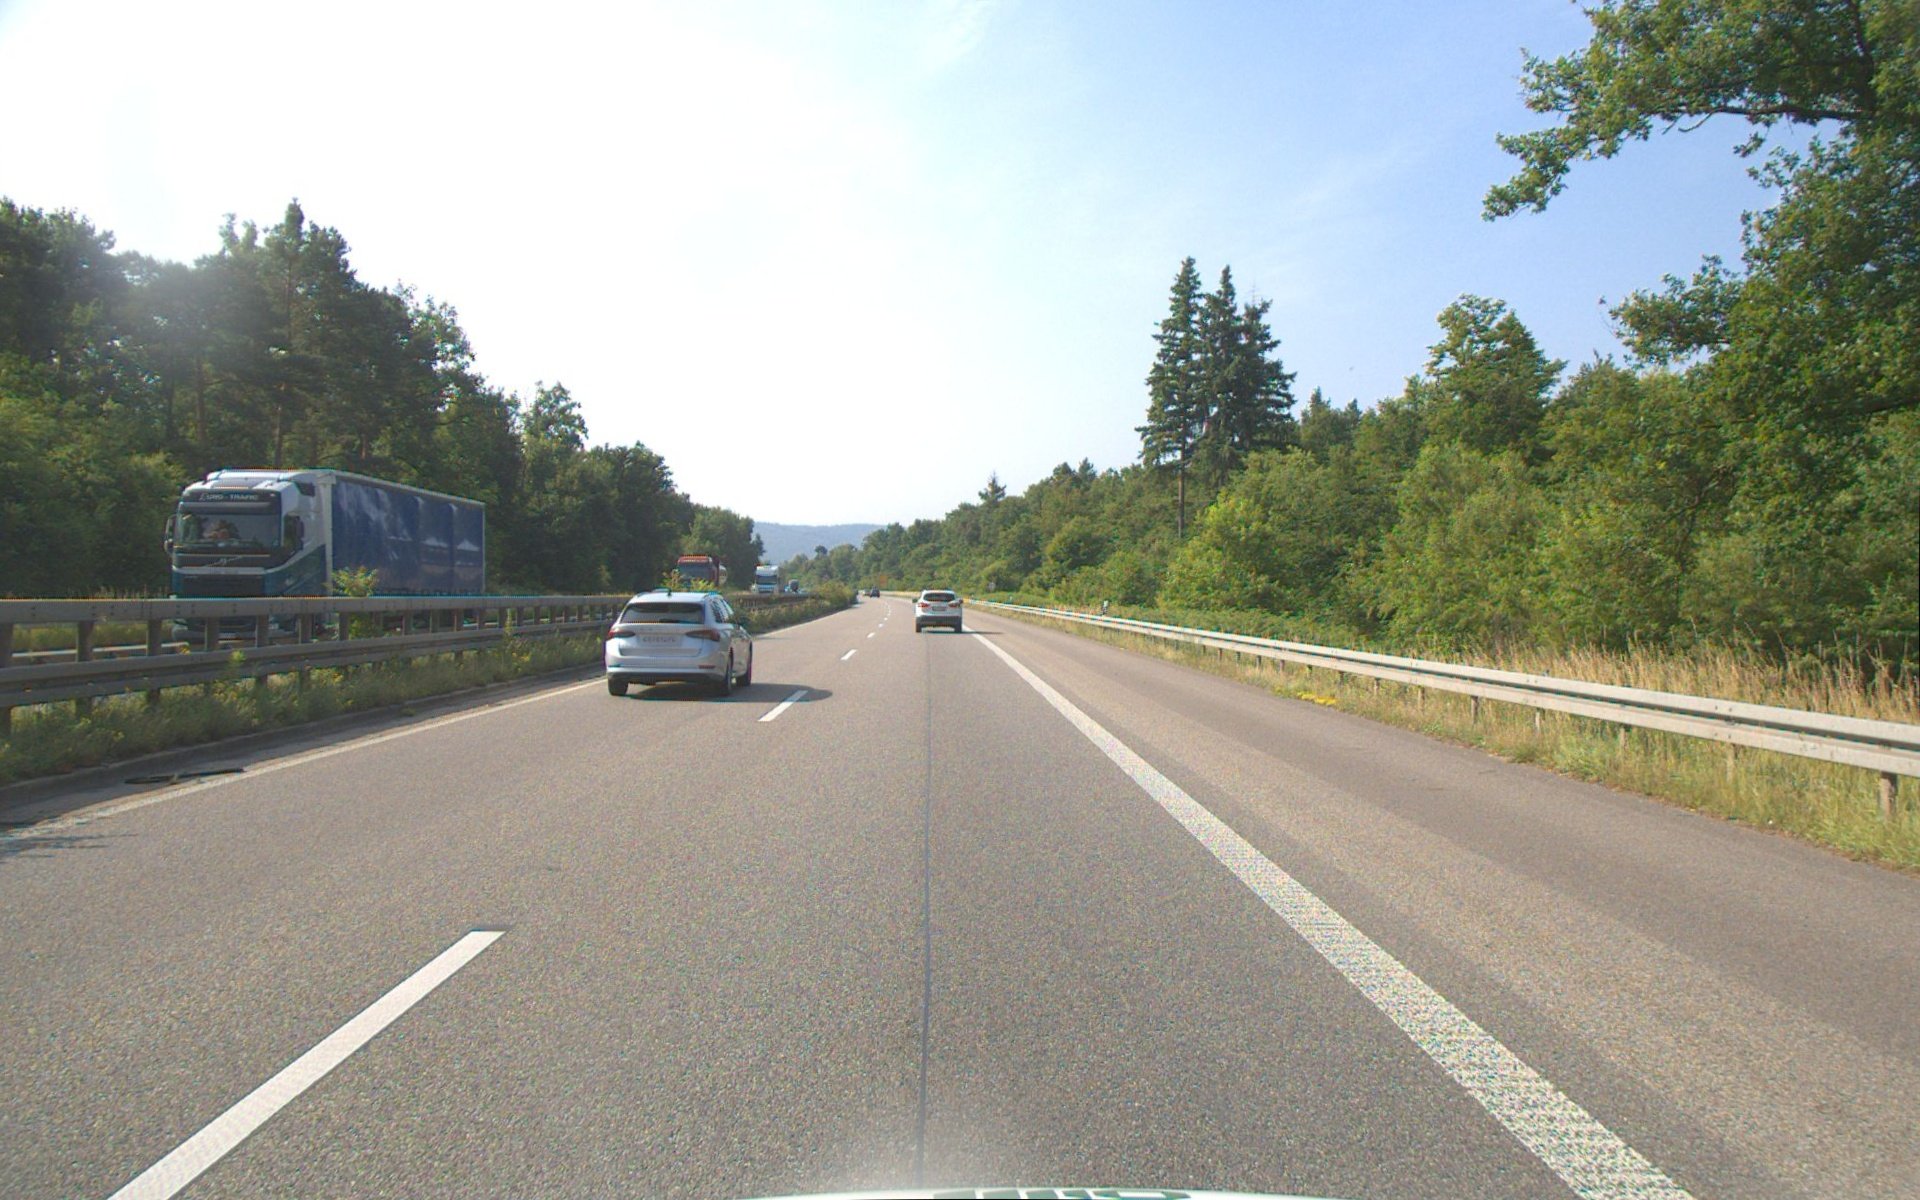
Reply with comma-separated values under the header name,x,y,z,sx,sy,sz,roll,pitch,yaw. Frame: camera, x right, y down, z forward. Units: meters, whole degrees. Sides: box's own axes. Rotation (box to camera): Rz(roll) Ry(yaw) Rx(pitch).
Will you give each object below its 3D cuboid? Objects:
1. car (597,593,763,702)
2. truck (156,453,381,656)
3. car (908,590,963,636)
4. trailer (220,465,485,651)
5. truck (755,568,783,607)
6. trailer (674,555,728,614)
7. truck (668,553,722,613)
name,x,y,z,sx,sy,sz,roll,pitch,yaw
car,-4.128,0.637,25.167,1.756,1.463,5.277,0,0,-1
truck,-15.692,-0.973,38.040,2.654,4.274,6.292,0,0,-2
car,-0.966,0.466,63.585,1.837,1.614,3.997,2,0,-4
trailer,-15.852,-0.997,44.616,2.637,4.274,13.076,0,0,-2
truck,-21.149,-1.405,183.262,2.781,4.269,5.543,0,0,-3
trailer,-19.121,-1.097,122.425,3.230,4.110,8.365,1,0,-5
truck,-18.715,-1.151,117.147,3.203,4.110,6.226,1,0,-5
